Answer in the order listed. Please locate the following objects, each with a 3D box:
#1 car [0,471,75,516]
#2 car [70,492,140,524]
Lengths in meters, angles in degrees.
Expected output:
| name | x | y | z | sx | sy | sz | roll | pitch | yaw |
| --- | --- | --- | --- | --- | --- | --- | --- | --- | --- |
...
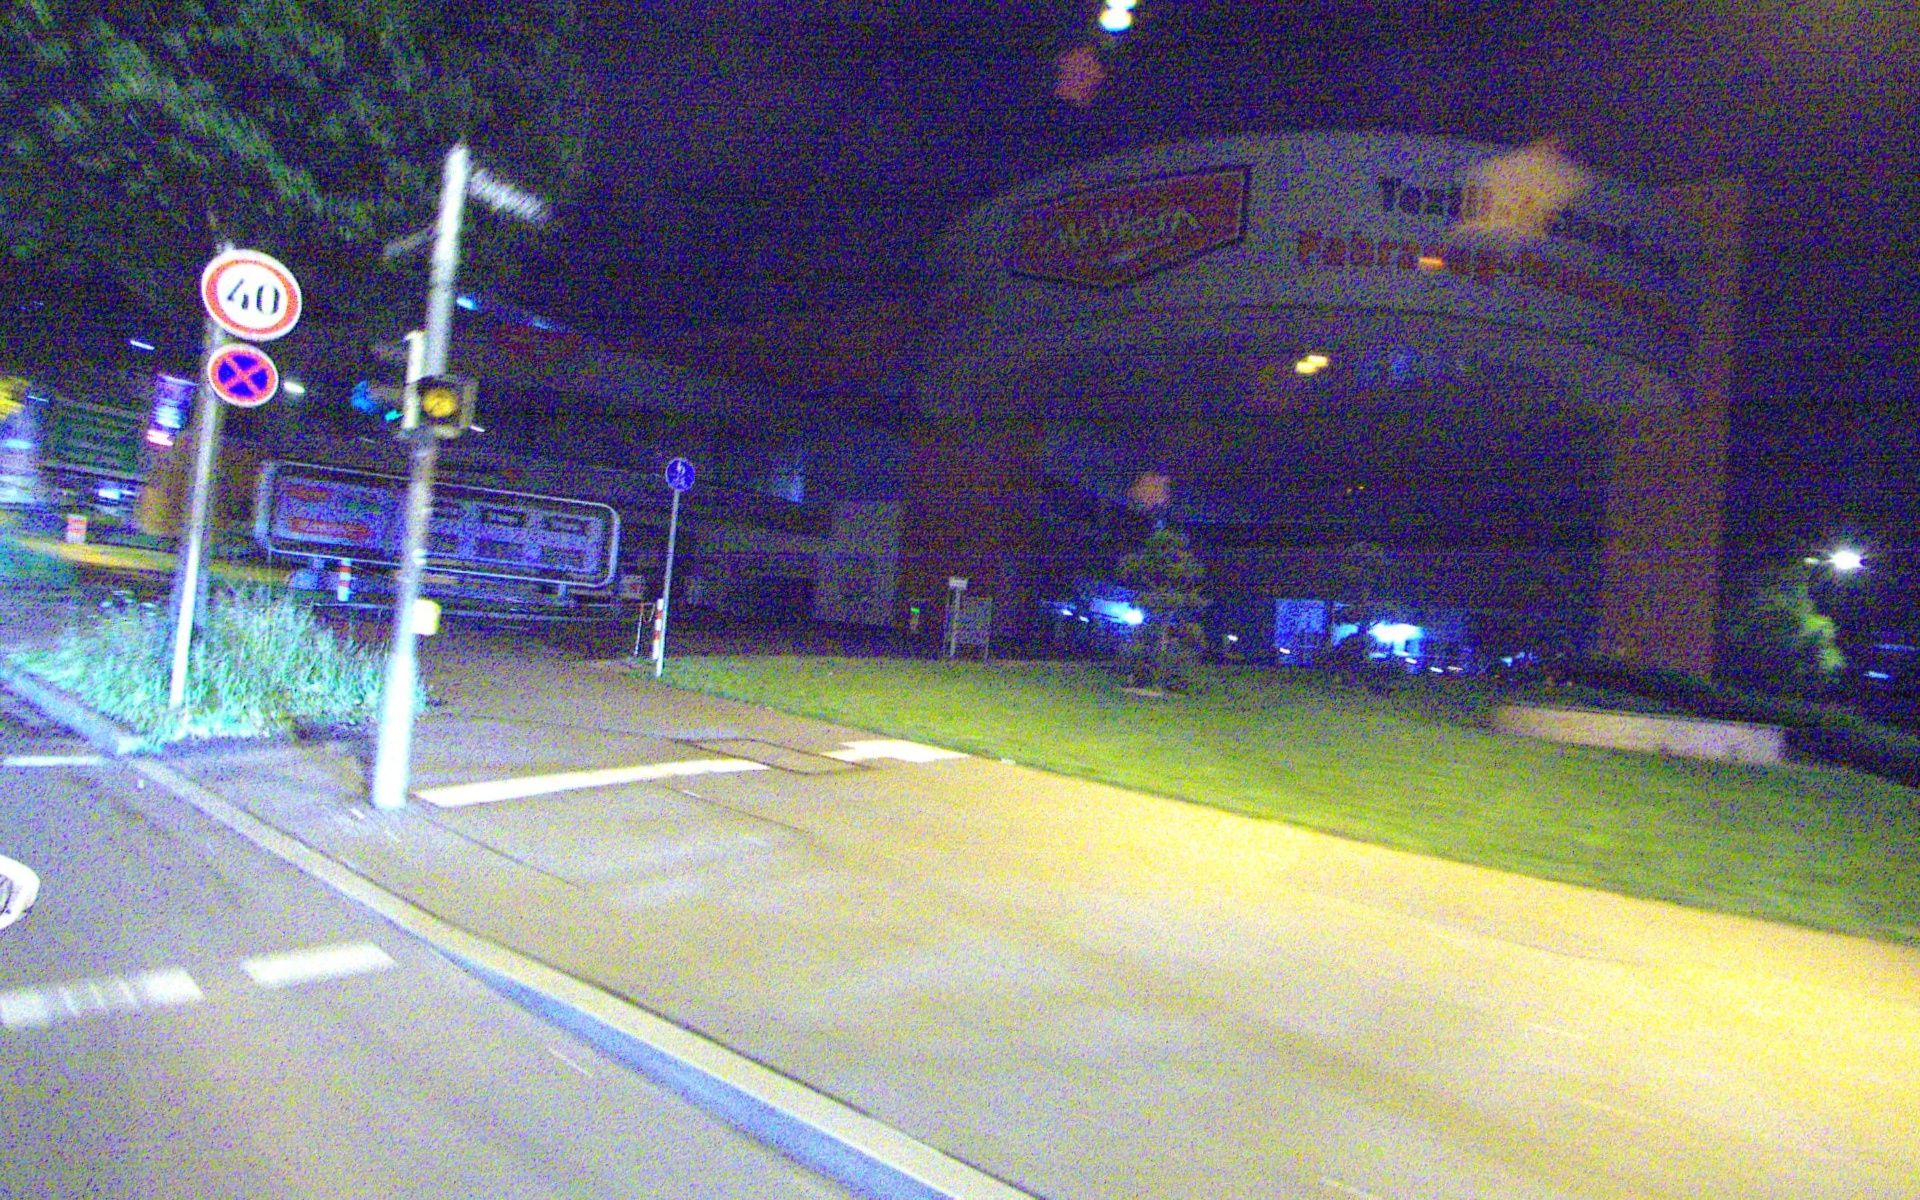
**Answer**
| name | x | y | z | sx | sy | sz | roll | pitch | yaw |
| --- | --- | --- | --- | --- | --- | --- | --- | --- | --- |
| car | -62.281 | -7.069 | 65.968 | 2.242 | 2.565 | 6.024 | 7 | 3 | 22 |
| car | -59.423 | -6.381 | 69.952 | 3.892 | 1.734 | 1.810 | 6 | 2 | 16 |
